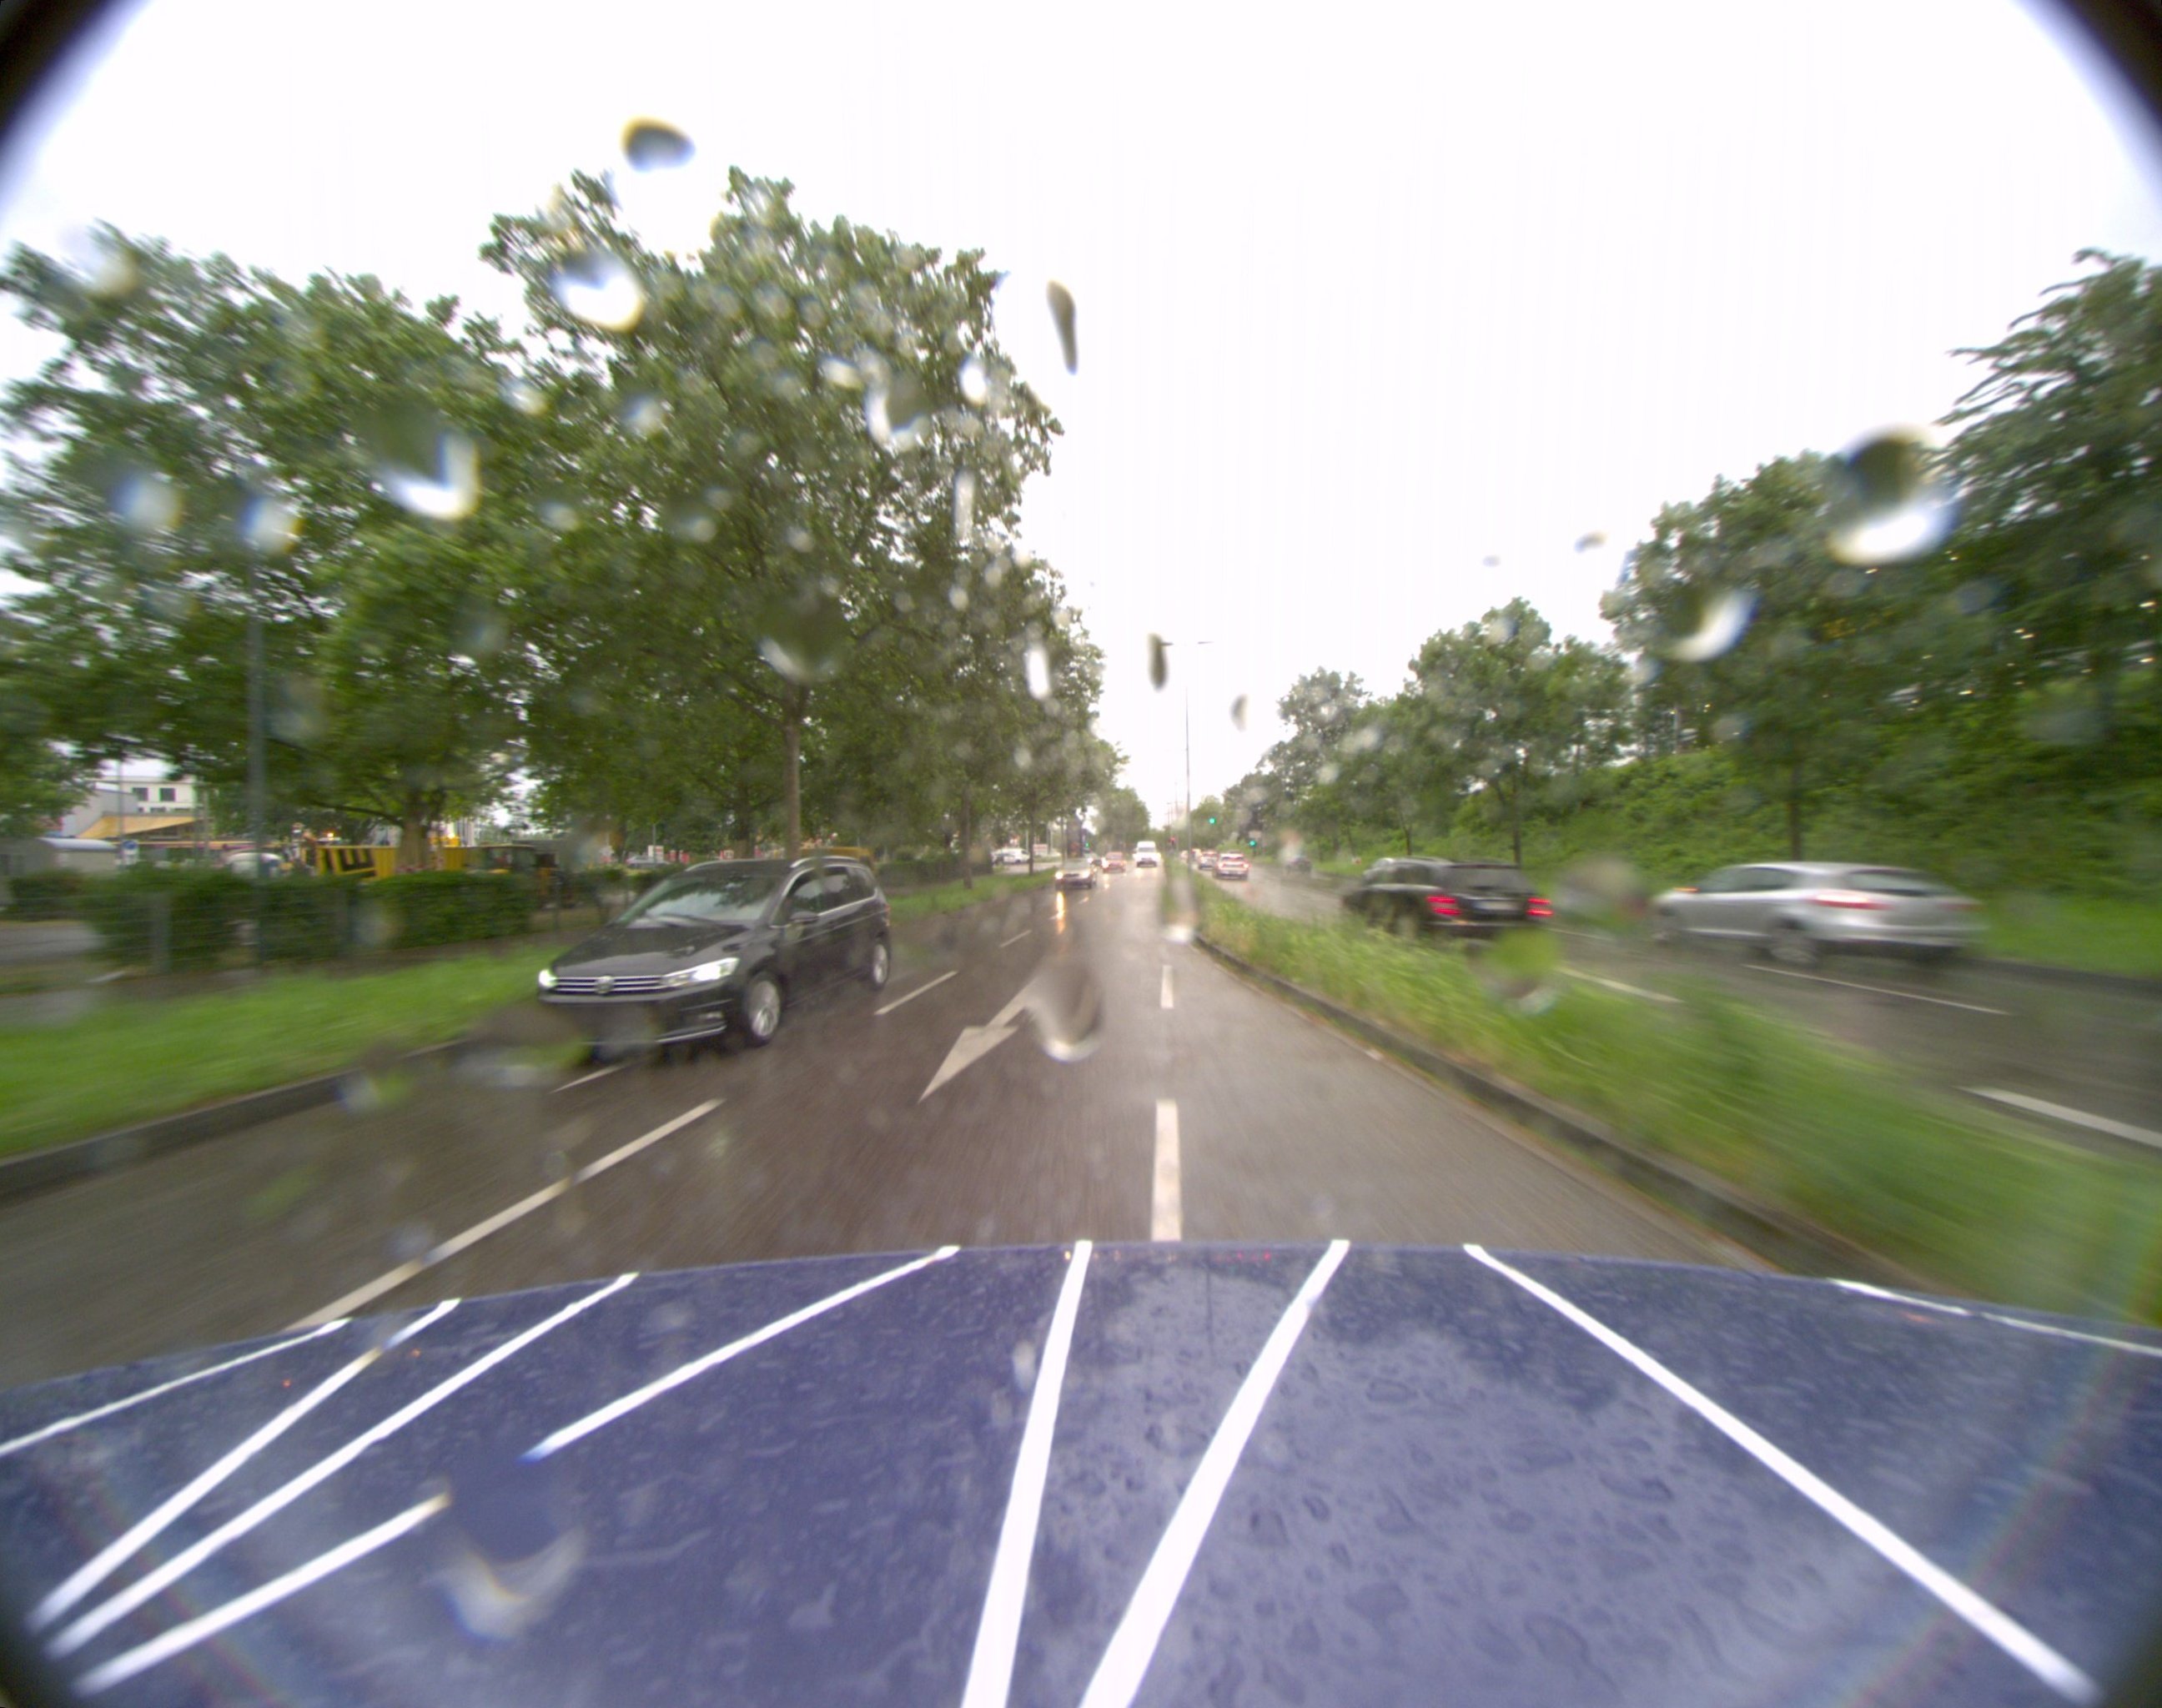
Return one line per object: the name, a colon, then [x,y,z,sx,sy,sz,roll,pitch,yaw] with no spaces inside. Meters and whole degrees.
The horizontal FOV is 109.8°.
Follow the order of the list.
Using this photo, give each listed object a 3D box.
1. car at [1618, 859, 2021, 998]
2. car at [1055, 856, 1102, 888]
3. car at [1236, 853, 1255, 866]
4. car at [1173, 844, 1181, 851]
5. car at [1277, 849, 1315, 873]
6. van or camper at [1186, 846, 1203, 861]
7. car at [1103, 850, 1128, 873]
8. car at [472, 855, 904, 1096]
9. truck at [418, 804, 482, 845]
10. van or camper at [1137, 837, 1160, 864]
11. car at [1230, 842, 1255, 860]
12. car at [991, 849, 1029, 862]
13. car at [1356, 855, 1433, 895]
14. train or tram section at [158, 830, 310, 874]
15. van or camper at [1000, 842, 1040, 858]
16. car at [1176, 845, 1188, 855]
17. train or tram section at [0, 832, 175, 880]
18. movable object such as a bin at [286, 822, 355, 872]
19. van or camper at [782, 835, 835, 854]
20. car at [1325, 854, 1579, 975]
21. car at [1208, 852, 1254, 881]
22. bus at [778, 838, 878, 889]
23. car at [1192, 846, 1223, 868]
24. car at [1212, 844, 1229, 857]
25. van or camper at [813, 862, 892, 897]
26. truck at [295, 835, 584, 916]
car: [10.691,0.919,11.668,1.912,1.565,4.711,2,1,7]
car: [-0.052,0.854,37.539,1.806,1.422,4.388,-1,1,7]
car: [22.028,0.732,102.083,1.997,1.678,4.711,1,1,7]
car: [22.448,-1.449,177.466,1.779,1.552,3.775,-2,1,7]
car: [15.676,0.462,55.608,1.997,1.678,4.711,1,0,7]
van or camper: [13.793,-0.032,92.323,1.732,1.732,4.001,2,1,5]
car: [2.908,0.566,62.795,1.698,1.759,4.560,-1,0,7]
car: [-3.429,0.923,7.737,1.860,1.716,4.192,-2,1,5]
truck: [-55.995,-2.530,67.670,2.500,3.326,9.447,-3,2,-29]
van or camper: [7.020,-0.374,78.452,2.099,2.579,4.778,-2,0,7]
car: [16.349,-0.322,77.216,1.997,1.678,4.711,1,1,7]
car: [-9.026,0.176,96.350,4.469,1.663,1.863,-1,1,-32]
car: [13.008,0.807,31.829,1.839,1.493,4.442,1,0,7]
train or tram section: [-74.296,-0.253,66.938,8.383,3.500,2.394,-3,2,-32]
van or camper: [-8.072,-0.522,100.697,4.916,2.076,1.863,-1,1,-32]
car: [17.887,-0.782,134.332,1.997,1.678,4.711,1,1,7]
train or tram section: [-81.486,0.077,62.432,8.544,3.500,2.394,-3,2,-32]
movable object such as a bin: [-56.862,-0.544,56.795,3.602,3.605,3.326,0,1,41]
van or camper: [-50.960,-1.831,142.176,8.992,3.140,2.980,-3,2,-29]
car: [5.741,0.812,12.560,1.913,1.565,4.708,1,1,1]
car: [8.532,0.673,43.678,1.913,1.565,4.709,1,1,3]
bus: [-13.922,0.525,41.980,4.802,2.632,2.001,-1,1,7]
car: [10.487,0.223,63.152,1.903,1.604,4.111,2,1,1]
car: [18.105,-0.414,98.862,1.902,1.604,4.113,2,1,7]
van or camper: [-13.334,1.467,44.538,3.996,1.896,1.802,-2,1,2]
truck: [-28.489,0.794,34.603,9.514,3.015,3.074,-3,2,-29]
